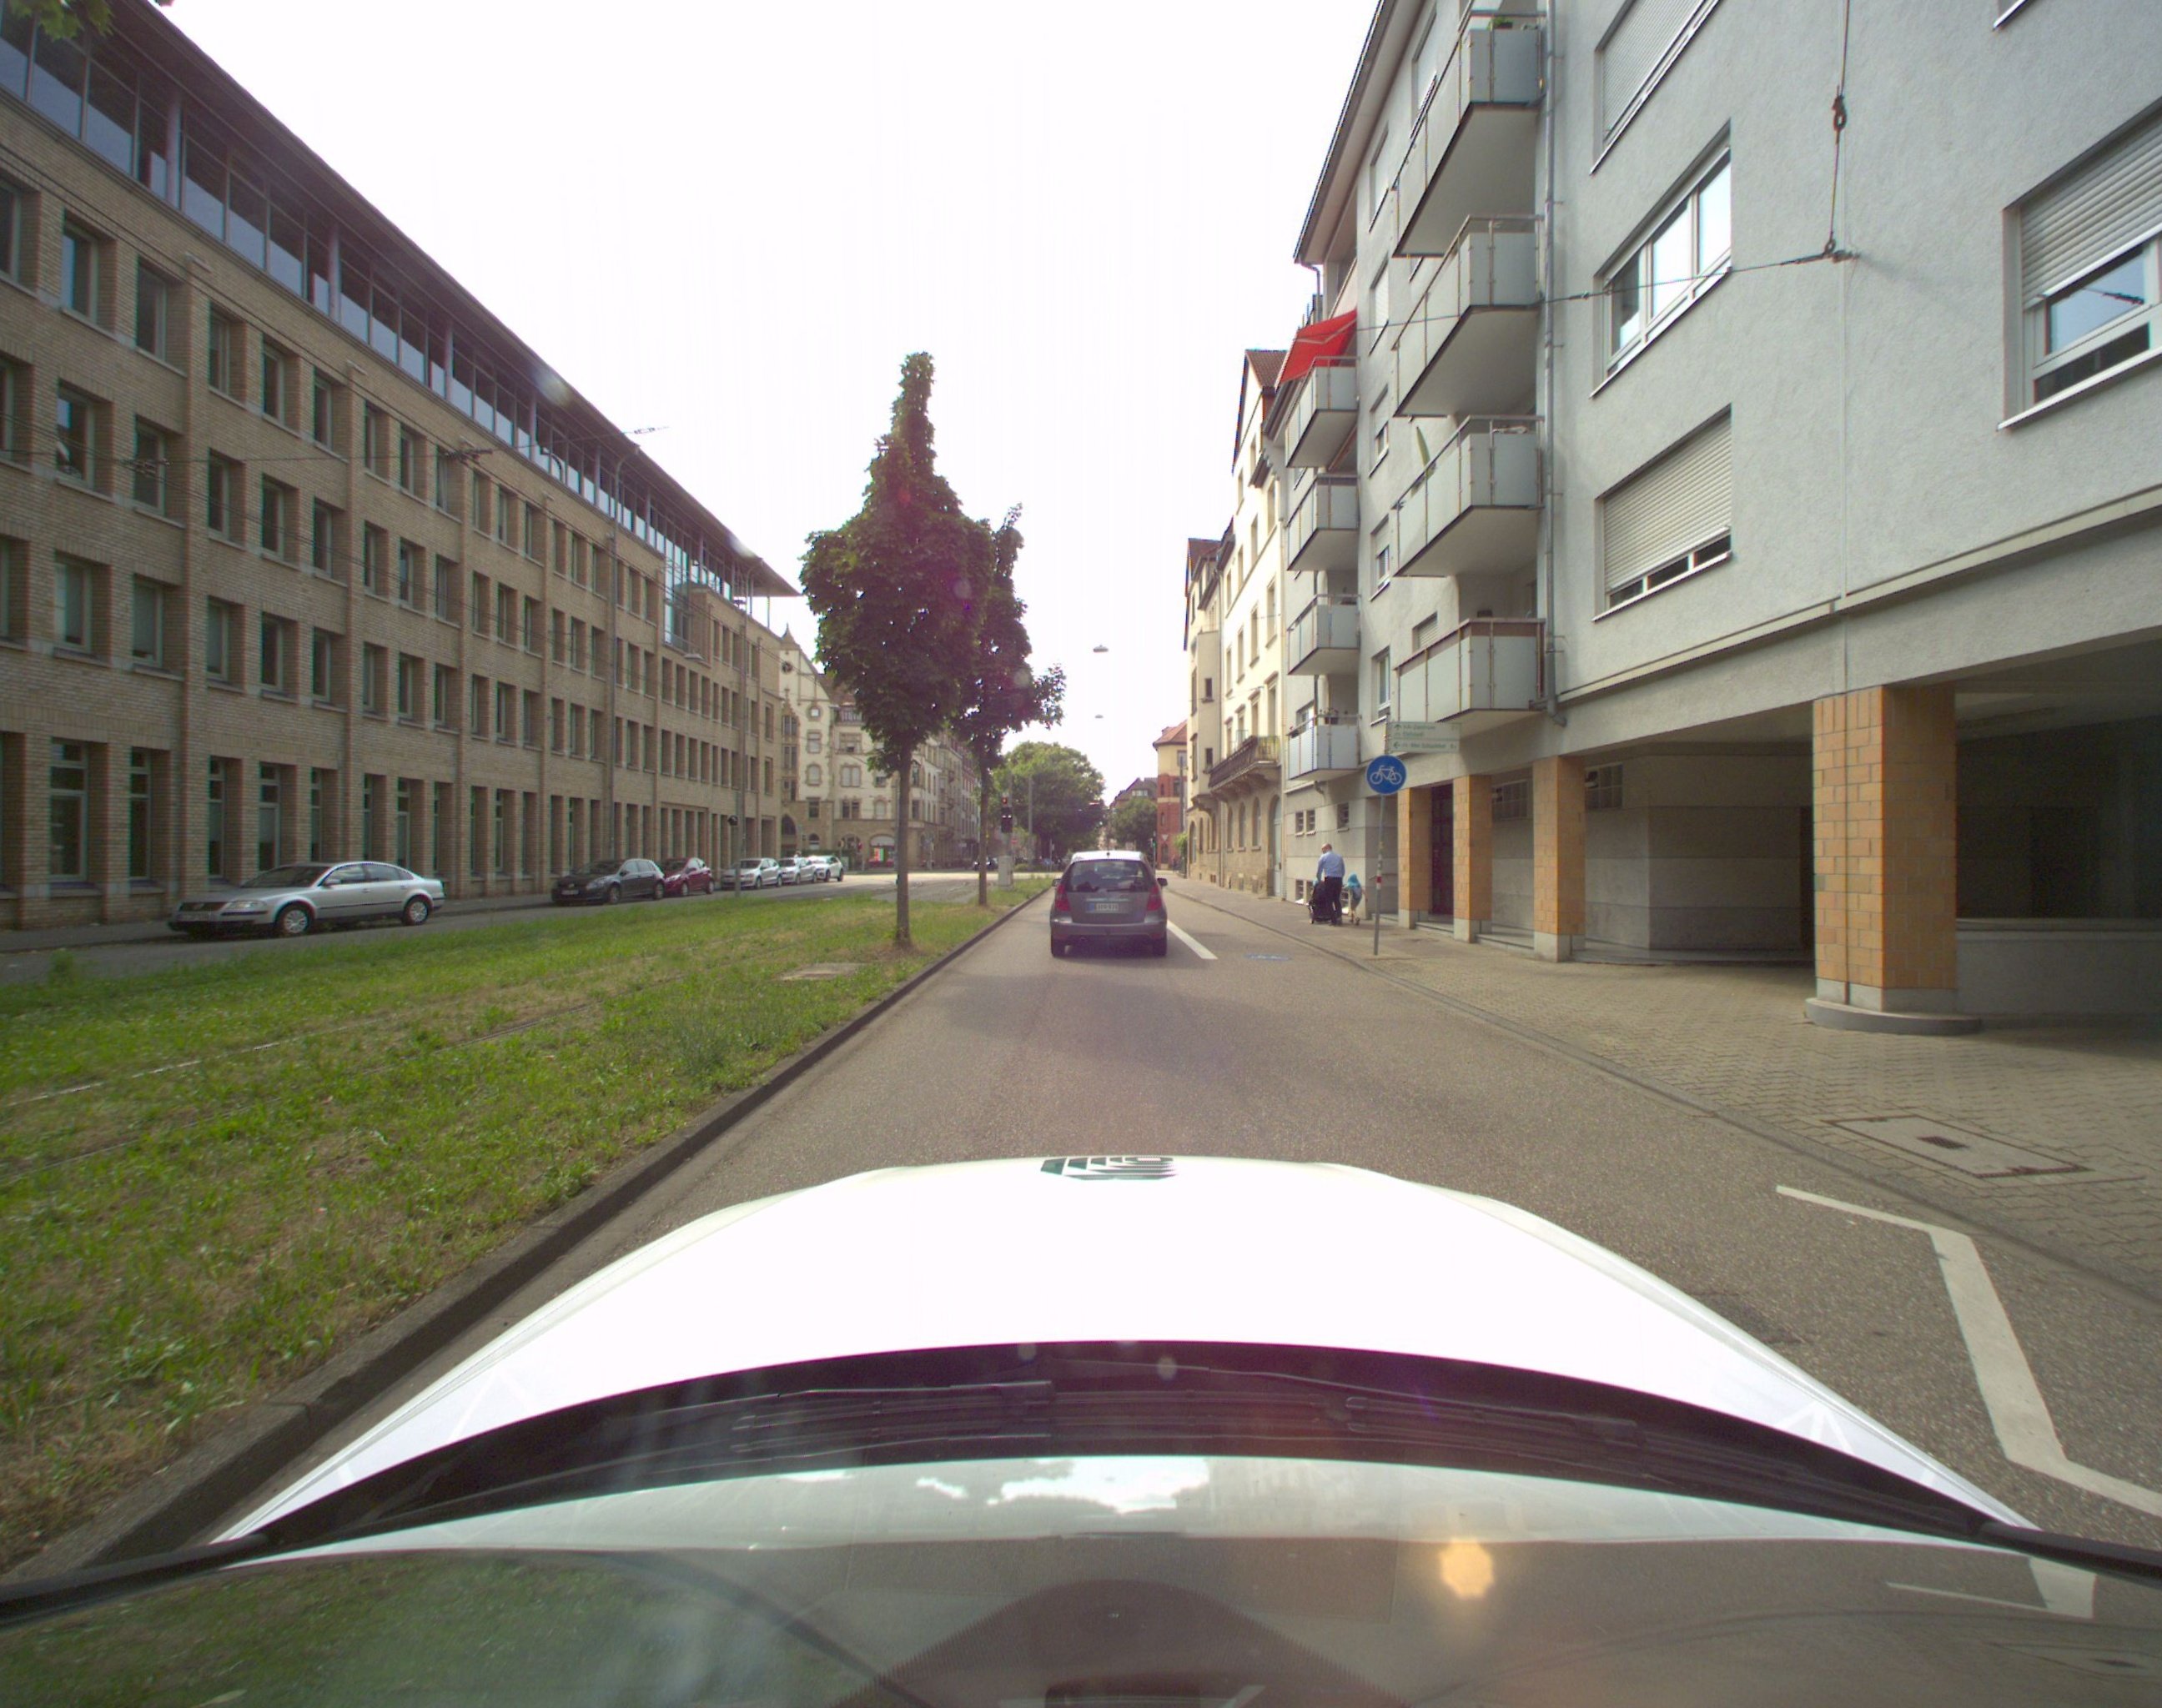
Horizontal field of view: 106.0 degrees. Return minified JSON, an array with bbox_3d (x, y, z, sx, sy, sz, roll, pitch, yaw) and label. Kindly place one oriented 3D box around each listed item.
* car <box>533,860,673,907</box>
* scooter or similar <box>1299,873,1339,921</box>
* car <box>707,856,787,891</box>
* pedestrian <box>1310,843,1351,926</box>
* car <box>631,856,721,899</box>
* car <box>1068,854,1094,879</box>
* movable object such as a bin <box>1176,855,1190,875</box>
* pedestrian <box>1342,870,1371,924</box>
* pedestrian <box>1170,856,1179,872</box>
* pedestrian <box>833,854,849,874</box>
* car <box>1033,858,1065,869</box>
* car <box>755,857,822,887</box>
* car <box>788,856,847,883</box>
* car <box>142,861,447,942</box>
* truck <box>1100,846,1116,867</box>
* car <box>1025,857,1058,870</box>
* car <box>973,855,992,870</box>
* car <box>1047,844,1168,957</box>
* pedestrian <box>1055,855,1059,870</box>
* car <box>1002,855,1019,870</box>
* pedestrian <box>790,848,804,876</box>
[{"bbox_3d":[-15.388,0.903,26.519,1.925,1.396,4.241,0,0,2],"label":"car"},{"bbox_3d":[5.363,0.963,18.378,0.590,1.002,0.906,-4,0,2],"label":"scooter or similar"},{"bbox_3d":[-15.341,0.874,37.677,1.844,1.530,4.212,0,0,2],"label":"car"},{"bbox_3d":[5.378,0.644,17.592,0.618,1.739,0.877,0,0,2],"label":"pedestrian"},{"bbox_3d":[-15.358,0.842,31.082,1.577,1.530,3.551,0,0,2],"label":"car"},{"bbox_3d":[0.008,0.886,58.254,1.716,1.706,3.678,-1,0,2],"label":"car"},{"bbox_3d":[7.444,0.804,59.426,0.714,1.472,0.980,-1,-1,-8],"label":"movable object such as a bin"},{"bbox_3d":[5.988,0.924,17.718,0.454,1.135,0.494,-1,0,1],"label":"pedestrian"},{"bbox_3d":[9.481,0.986,82.376,0.865,1.656,0.737,0,0,5],"label":"pedestrian"},{"bbox_3d":[-20.250,0.839,68.694,1.029,1.722,0.767,1,-1,-43],"label":"pedestrian"},{"bbox_3d":[-3.904,1.171,98.814,1.984,1.339,3.954,0,0,-38],"label":"car"},{"bbox_3d":[-15.305,0.905,42.862,1.925,1.530,4.016,0,0,2],"label":"car"},{"bbox_3d":[-15.220,0.872,47.298,1.925,1.535,4.260,0,0,2],"label":"car"},{"bbox_3d":[-15.502,0.854,16.485,1.708,1.396,4.486,0,0,2],"label":"car"},{"bbox_3d":[3.905,0.379,116.717,2.113,2.970,4.005,-1,0,5],"label":"truck"},{"bbox_3d":[-4.723,1.089,96.203,1.984,1.495,3.954,0,0,-38],"label":"car"},{"bbox_3d":[-11.604,0.990,96.112,1.990,1.618,3.994,-1,0,-4],"label":"car"},{"bbox_3d":[0.444,0.680,13.575,1.716,1.605,3.678,-1,0,2],"label":"car"},{"bbox_3d":[-2.756,1.036,94.096,0.492,1.725,0.653,0,-1,-5],"label":"pedestrian"},{"bbox_3d":[-8.425,1.030,97.574,1.990,1.728,3.994,-1,0,-4],"label":"car"},{"bbox_3d":[-18.373,0.520,52.673,0.763,1.795,0.952,0,-1,-24],"label":"pedestrian"}]
